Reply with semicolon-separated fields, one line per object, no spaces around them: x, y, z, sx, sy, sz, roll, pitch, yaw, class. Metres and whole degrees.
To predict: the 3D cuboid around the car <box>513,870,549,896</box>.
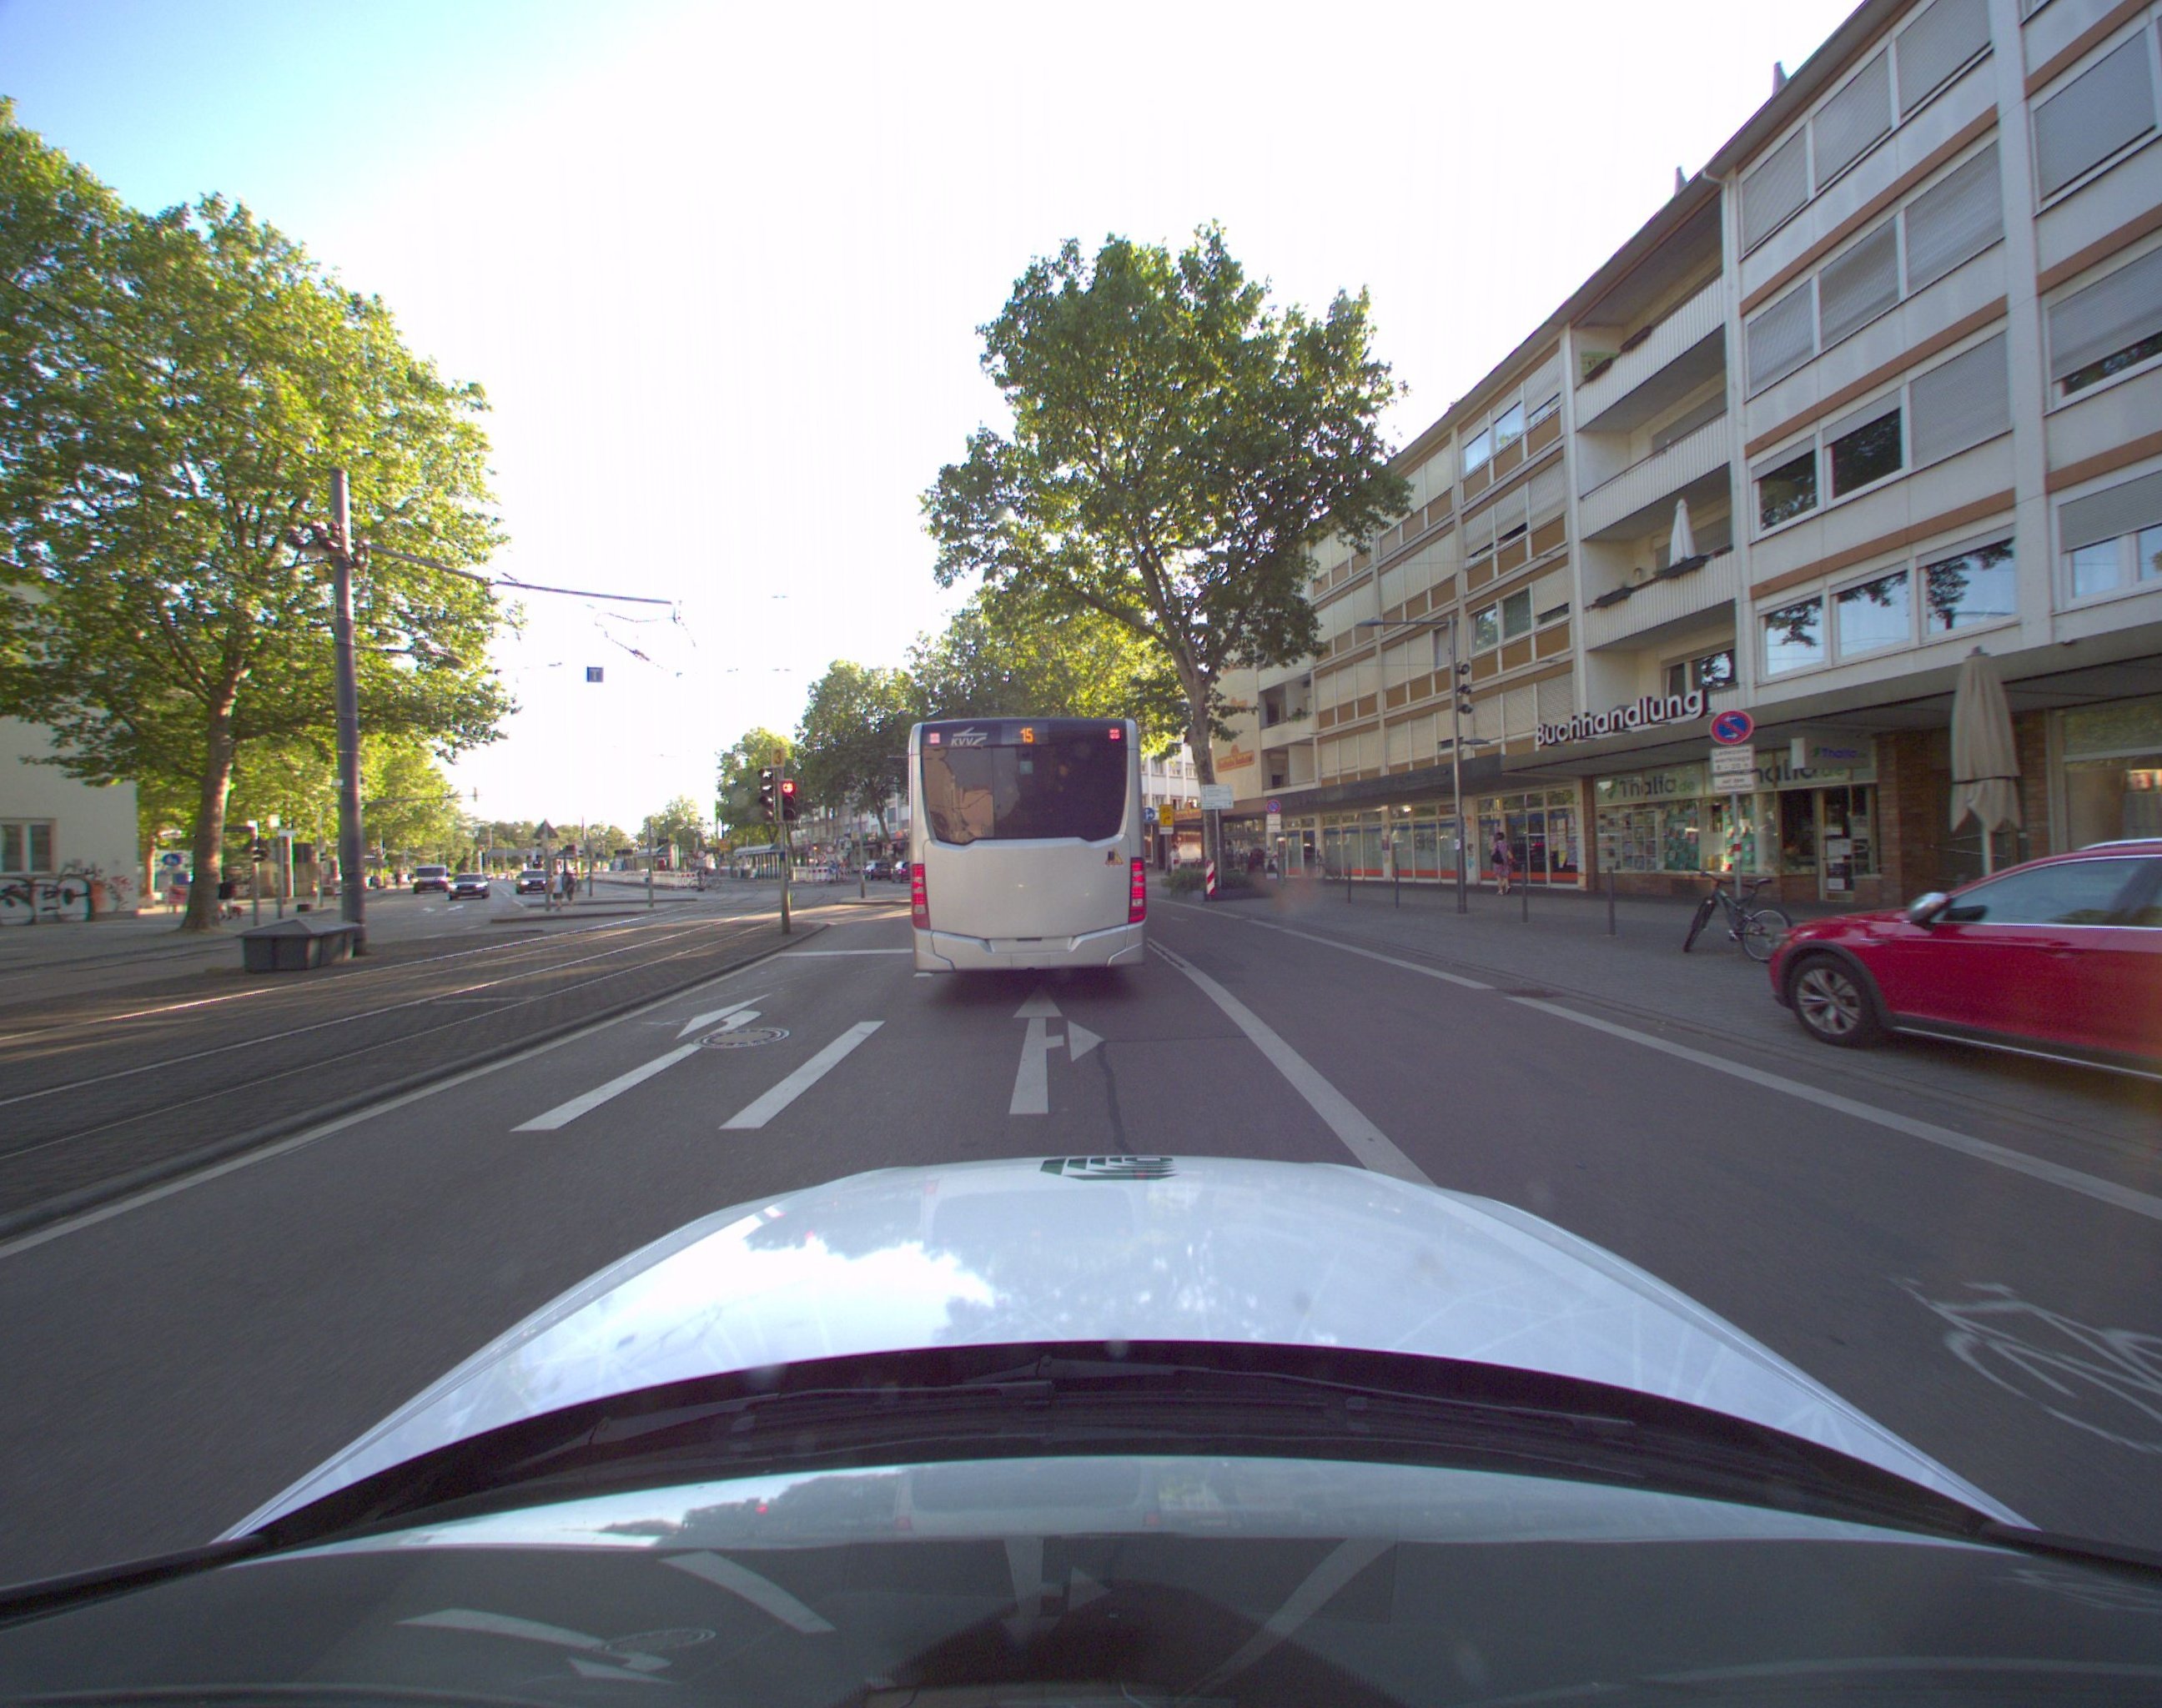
-37.223;1.940;55.067;1.900;1.585;4.161;-2;0;-35;car

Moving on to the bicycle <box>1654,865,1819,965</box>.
7.942;0.696;9.963;0.510;1.070;1.658;-4;0;-6;bicycle

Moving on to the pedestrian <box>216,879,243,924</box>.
-33.773;1.868;32.293;0.426;1.710;0.681;0;-1;35;pedestrian

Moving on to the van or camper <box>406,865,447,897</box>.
-52.480;2.171;65.380;2.184;2.319;5.048;-4;1;-35;van or camper

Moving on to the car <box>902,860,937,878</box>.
-14.070;1.307;70.660;1.675;1.394;3.376;-6;2;-35;car

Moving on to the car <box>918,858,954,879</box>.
-11.951;1.209;67.006;1.674;1.516;3.377;-5;2;-33;car

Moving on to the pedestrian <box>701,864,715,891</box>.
-24.180;1.507;52.786;0.726;1.725;0.394;-2;0;-39;pedestrian

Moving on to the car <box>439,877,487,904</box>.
-36.531;2.120;48.222;1.899;1.472;4.163;-2;0;-33;car

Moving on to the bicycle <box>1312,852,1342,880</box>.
10.180;0.492;33.722;0.438;1.092;1.454;-4;1;-16;bicycle

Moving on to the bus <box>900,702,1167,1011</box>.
-0.734;0.054;13.484;2.652;3.098;10.204;-2;0;-3;bus

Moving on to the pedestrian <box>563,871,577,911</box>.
-19.626;1.418;31.298;0.411;1.504;0.512;-2;0;-31;pedestrian

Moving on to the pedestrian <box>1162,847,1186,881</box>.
4.781;0.507;41.796;0.838;1.712;0.788;-4;1;-21;pedestrian

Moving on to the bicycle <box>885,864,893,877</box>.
-17.650;1.510;74.824;0.508;1.211;2.080;-2;0;-17;bicycle

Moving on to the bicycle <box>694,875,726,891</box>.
-24.287;1.892;53.293;1.855;0.942;0.458;-2;0;-39;bicycle

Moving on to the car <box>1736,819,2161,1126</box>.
6.322;0.572;4.421;1.773;1.496;4.566;-4;0;0;car

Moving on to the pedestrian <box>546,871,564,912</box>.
-19.841;1.413;30.735;0.523;1.504;0.588;-2;0;-31;pedestrian

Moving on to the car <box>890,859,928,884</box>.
-11.188;1.130;52.804;1.763;1.464;3.970;-2;0;-22;car

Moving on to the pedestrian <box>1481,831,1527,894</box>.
10.907;0.217;21.014;0.639;1.552;0.805;-2;0;-10;pedestrian
